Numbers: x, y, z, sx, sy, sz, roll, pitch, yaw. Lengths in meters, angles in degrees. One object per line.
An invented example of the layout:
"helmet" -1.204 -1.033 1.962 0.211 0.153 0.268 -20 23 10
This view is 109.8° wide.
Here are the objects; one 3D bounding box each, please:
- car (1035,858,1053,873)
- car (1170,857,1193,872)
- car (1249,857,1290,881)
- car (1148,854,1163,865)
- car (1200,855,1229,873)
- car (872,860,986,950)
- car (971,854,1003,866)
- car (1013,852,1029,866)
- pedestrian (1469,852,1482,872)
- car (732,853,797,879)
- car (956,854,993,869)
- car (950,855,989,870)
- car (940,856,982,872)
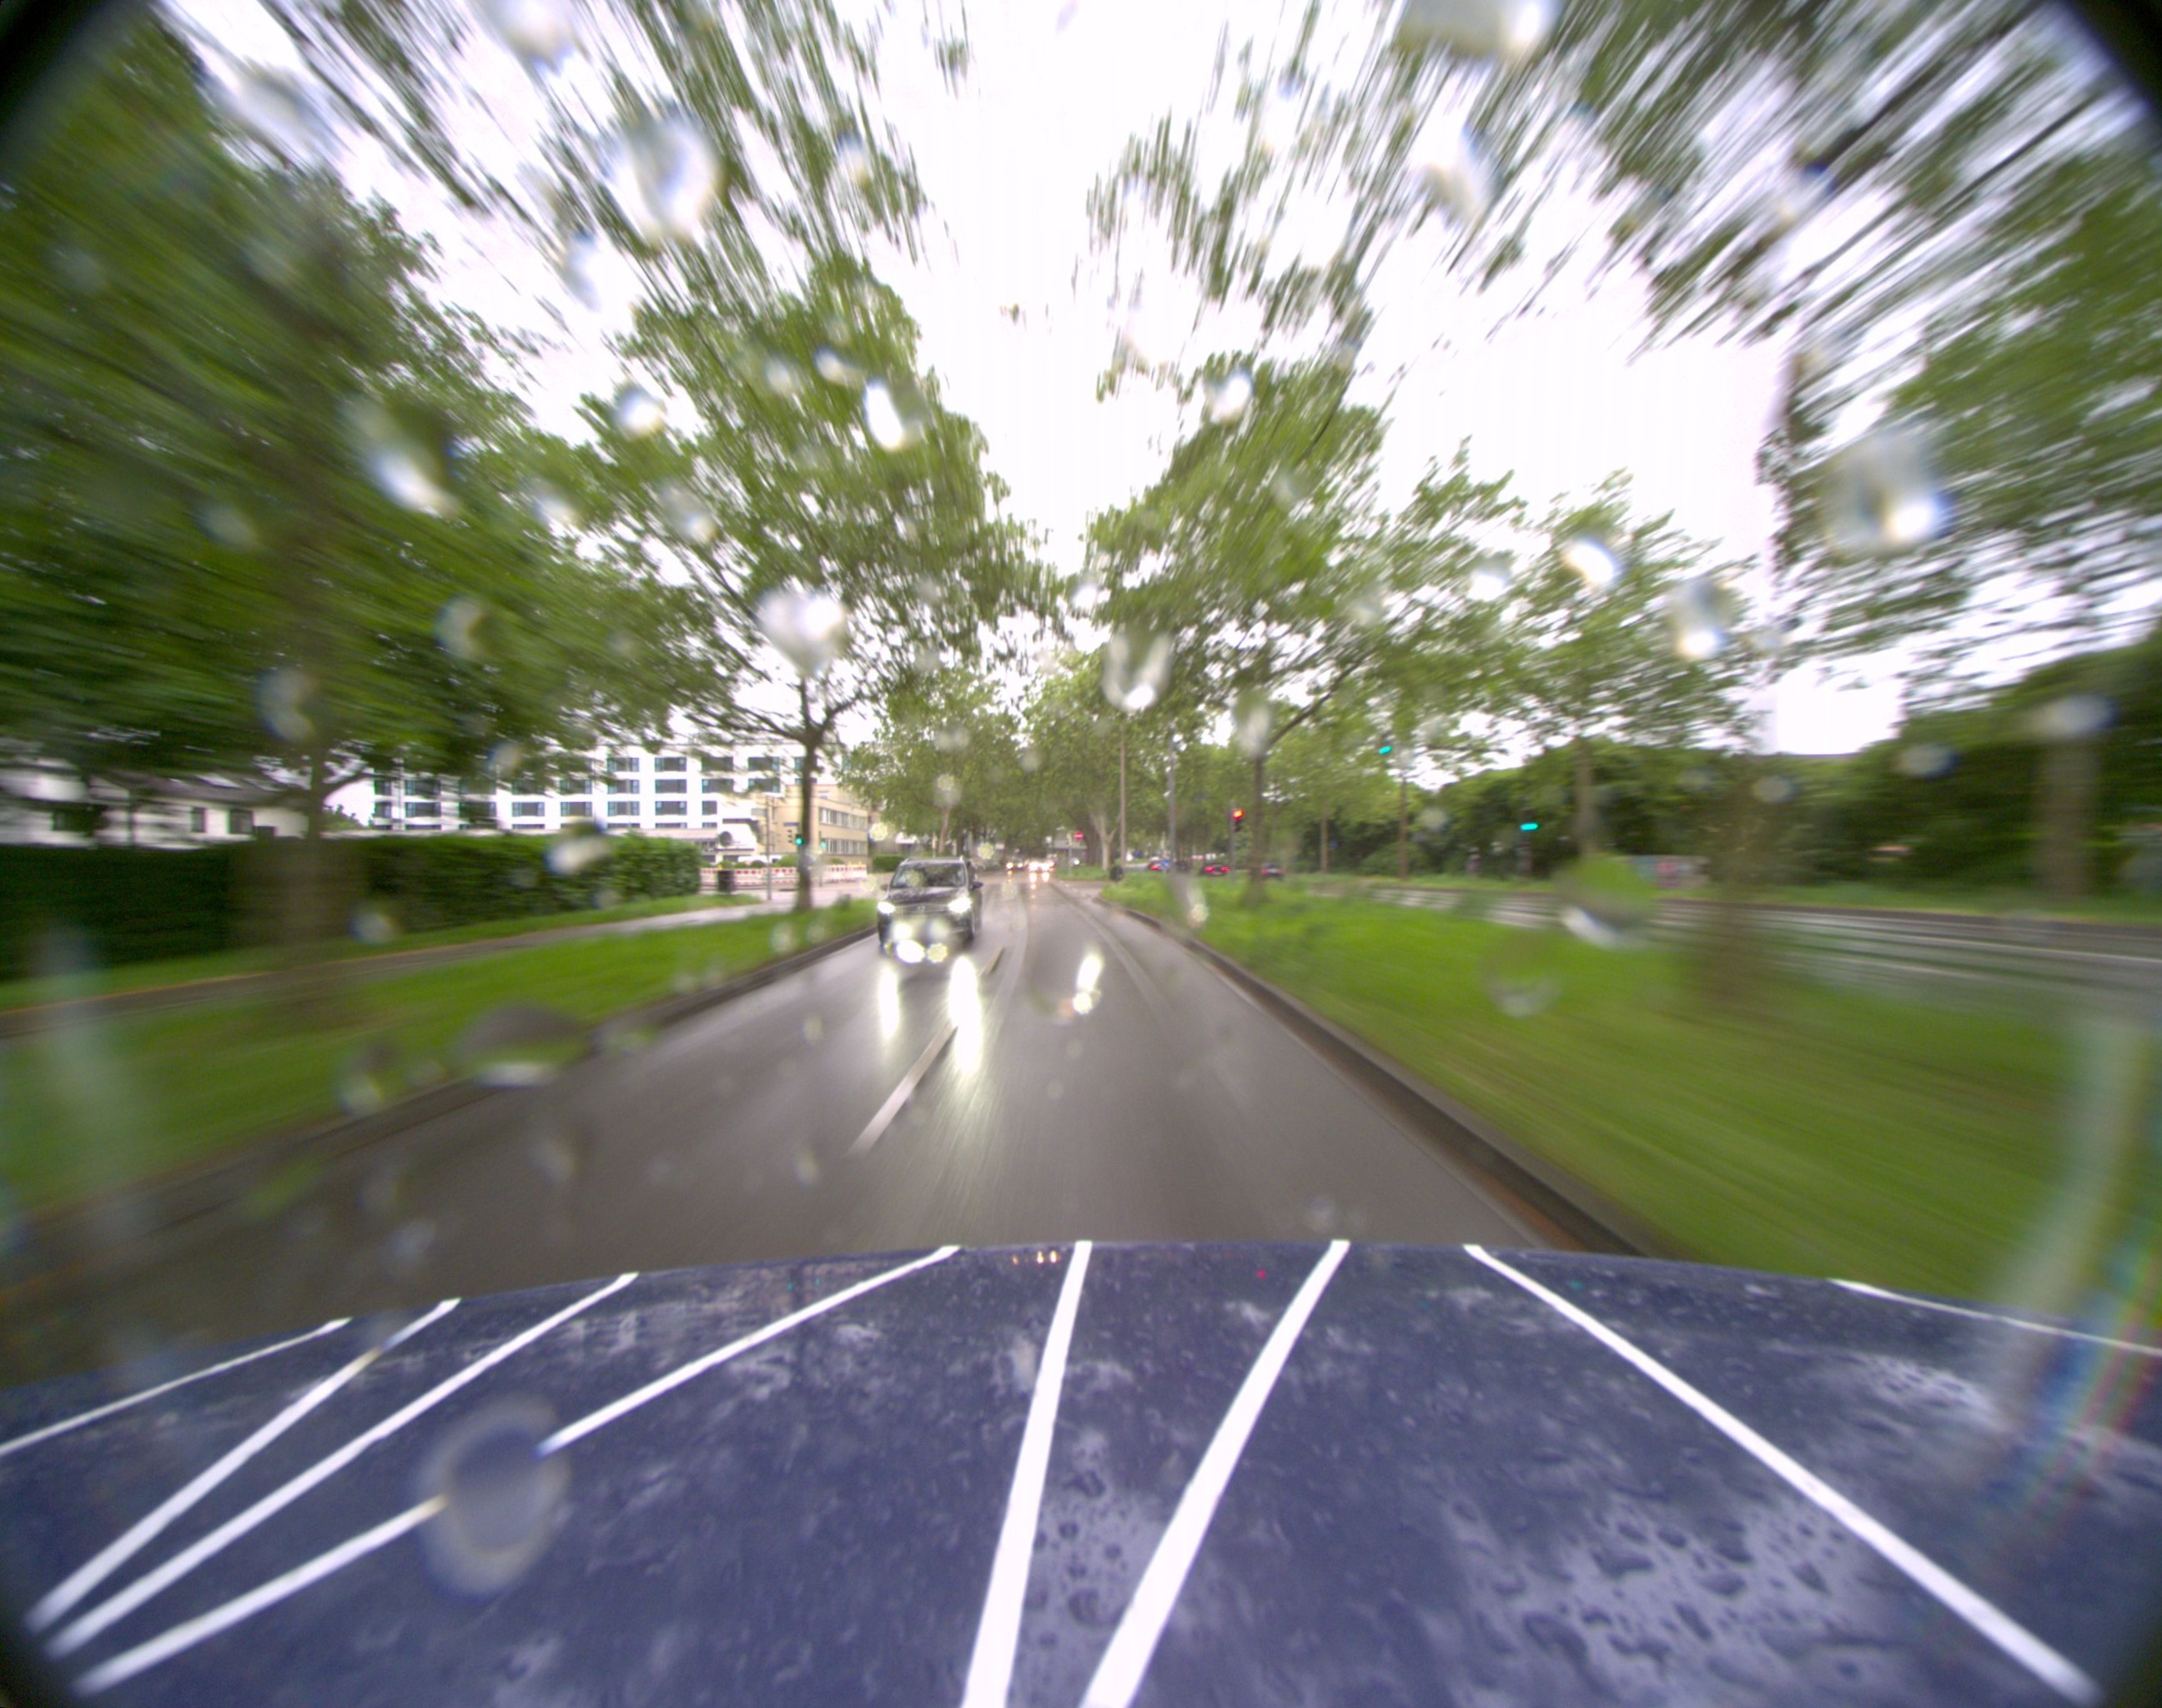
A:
"car" -3.850 1.182 78.809 1.784 1.546 3.999 -1 0 -3
"car" 10.704 1.091 80.966 1.784 1.546 3.999 -1 0 -1
"car" 12.893 0.973 52.141 1.784 1.546 3.999 -1 0 -1
"car" 11.274 0.792 115.101 1.784 1.546 3.999 -1 0 -1
"car" 11.558 0.846 65.987 1.784 1.546 3.999 -1 0 -1
"car" -2.986 0.941 15.715 1.784 1.546 3.998 -1 0 -4
"car" -11.925 0.751 96.616 3.998 1.546 1.784 -1 0 -4
"car" -7.314 0.580 92.550 1.784 1.546 3.999 -1 0 -3
"pedestrian" 20.938 0.430 40.293 0.475 1.034 0.441 -1 1 2
"car" -23.438 0.872 56.372 3.998 1.760 1.784 -1 0 -4
"car" -12.214 0.857 87.459 3.998 1.546 1.784 -1 0 -4
"car" -11.943 0.906 81.925 3.998 1.546 1.784 -1 0 -4
"car" -12.064 0.971 76.412 3.998 1.546 1.784 -1 0 -4
